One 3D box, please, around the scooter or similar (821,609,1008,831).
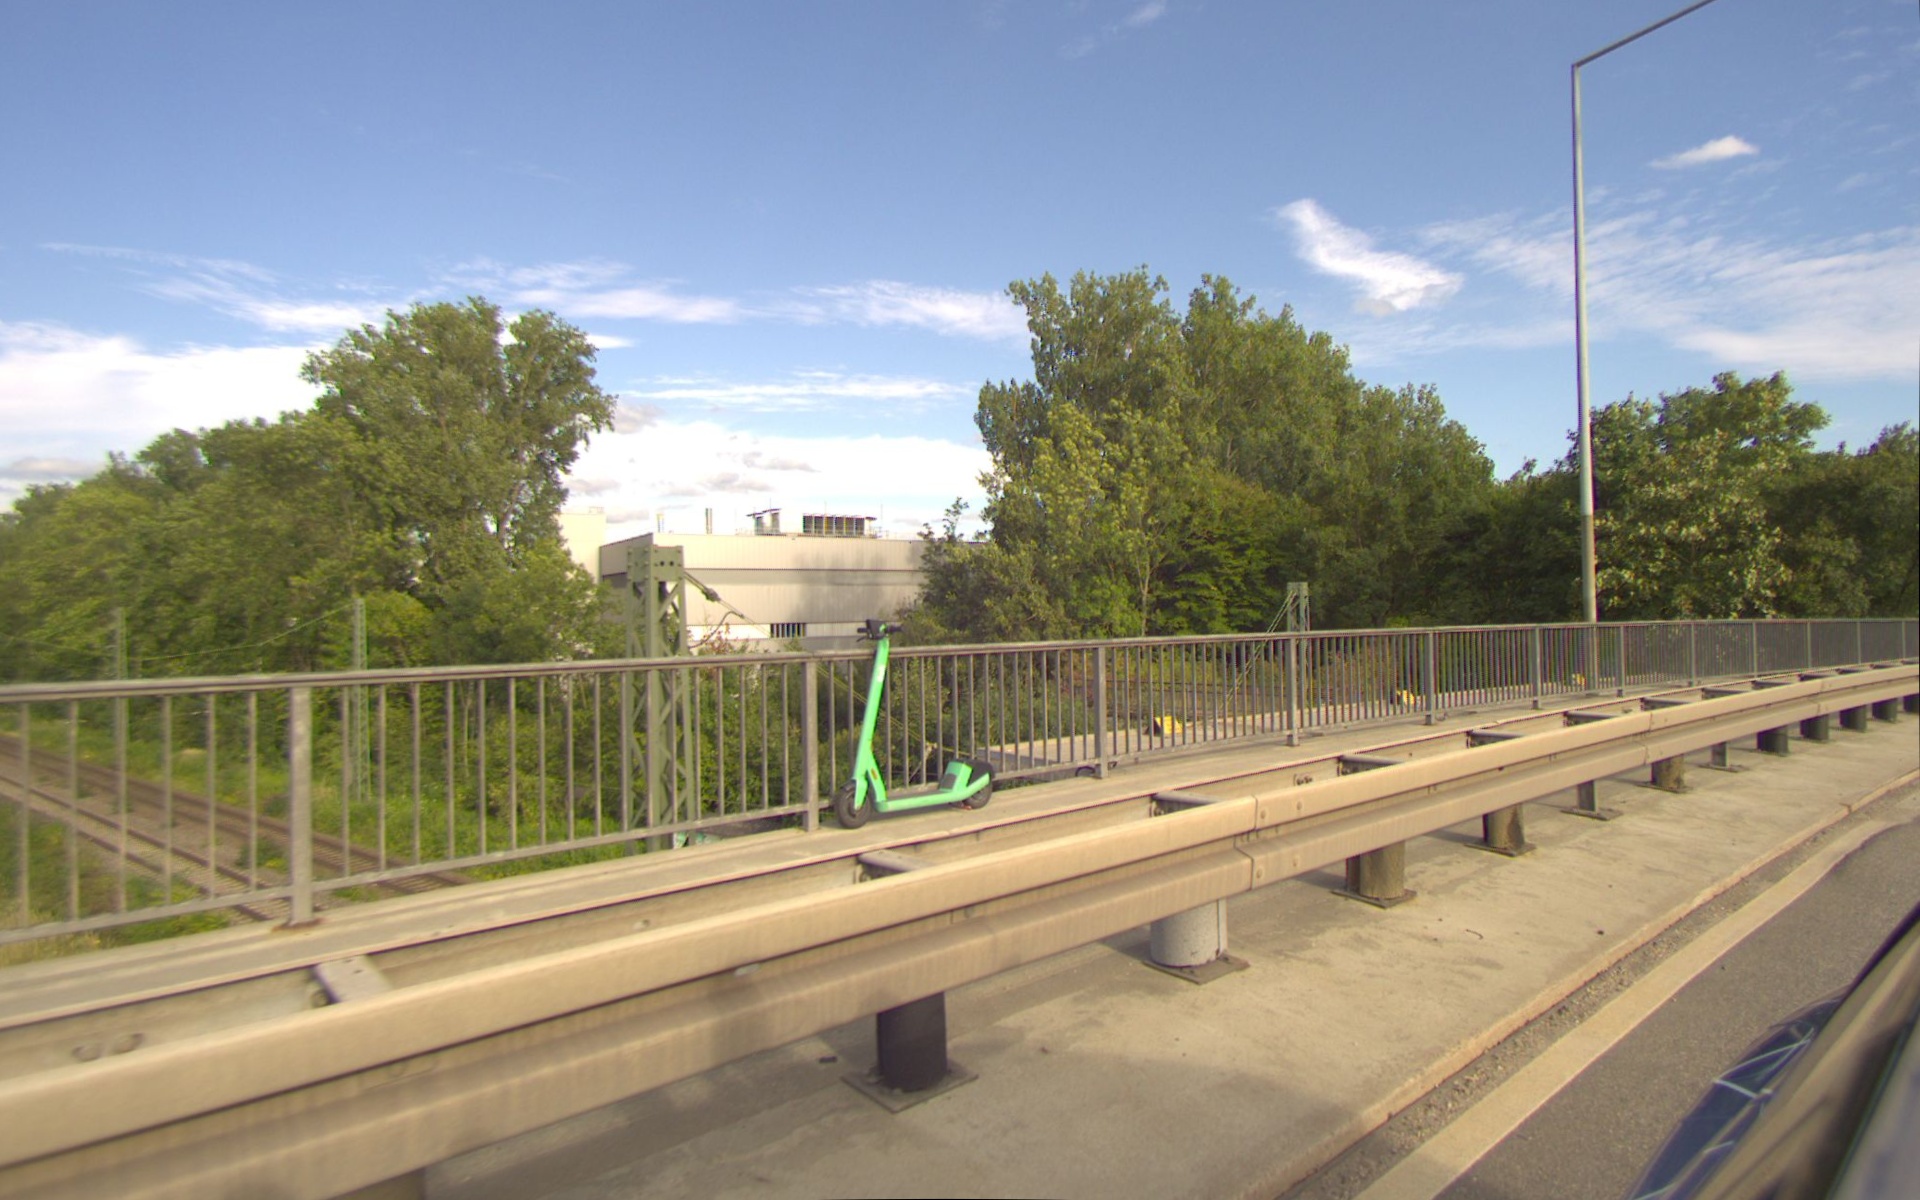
[{"bbox_3d":[-0.243,0.656,5.943,1.167,1.176,0.266,0,1,-39],"label":"scooter or similar"}]
